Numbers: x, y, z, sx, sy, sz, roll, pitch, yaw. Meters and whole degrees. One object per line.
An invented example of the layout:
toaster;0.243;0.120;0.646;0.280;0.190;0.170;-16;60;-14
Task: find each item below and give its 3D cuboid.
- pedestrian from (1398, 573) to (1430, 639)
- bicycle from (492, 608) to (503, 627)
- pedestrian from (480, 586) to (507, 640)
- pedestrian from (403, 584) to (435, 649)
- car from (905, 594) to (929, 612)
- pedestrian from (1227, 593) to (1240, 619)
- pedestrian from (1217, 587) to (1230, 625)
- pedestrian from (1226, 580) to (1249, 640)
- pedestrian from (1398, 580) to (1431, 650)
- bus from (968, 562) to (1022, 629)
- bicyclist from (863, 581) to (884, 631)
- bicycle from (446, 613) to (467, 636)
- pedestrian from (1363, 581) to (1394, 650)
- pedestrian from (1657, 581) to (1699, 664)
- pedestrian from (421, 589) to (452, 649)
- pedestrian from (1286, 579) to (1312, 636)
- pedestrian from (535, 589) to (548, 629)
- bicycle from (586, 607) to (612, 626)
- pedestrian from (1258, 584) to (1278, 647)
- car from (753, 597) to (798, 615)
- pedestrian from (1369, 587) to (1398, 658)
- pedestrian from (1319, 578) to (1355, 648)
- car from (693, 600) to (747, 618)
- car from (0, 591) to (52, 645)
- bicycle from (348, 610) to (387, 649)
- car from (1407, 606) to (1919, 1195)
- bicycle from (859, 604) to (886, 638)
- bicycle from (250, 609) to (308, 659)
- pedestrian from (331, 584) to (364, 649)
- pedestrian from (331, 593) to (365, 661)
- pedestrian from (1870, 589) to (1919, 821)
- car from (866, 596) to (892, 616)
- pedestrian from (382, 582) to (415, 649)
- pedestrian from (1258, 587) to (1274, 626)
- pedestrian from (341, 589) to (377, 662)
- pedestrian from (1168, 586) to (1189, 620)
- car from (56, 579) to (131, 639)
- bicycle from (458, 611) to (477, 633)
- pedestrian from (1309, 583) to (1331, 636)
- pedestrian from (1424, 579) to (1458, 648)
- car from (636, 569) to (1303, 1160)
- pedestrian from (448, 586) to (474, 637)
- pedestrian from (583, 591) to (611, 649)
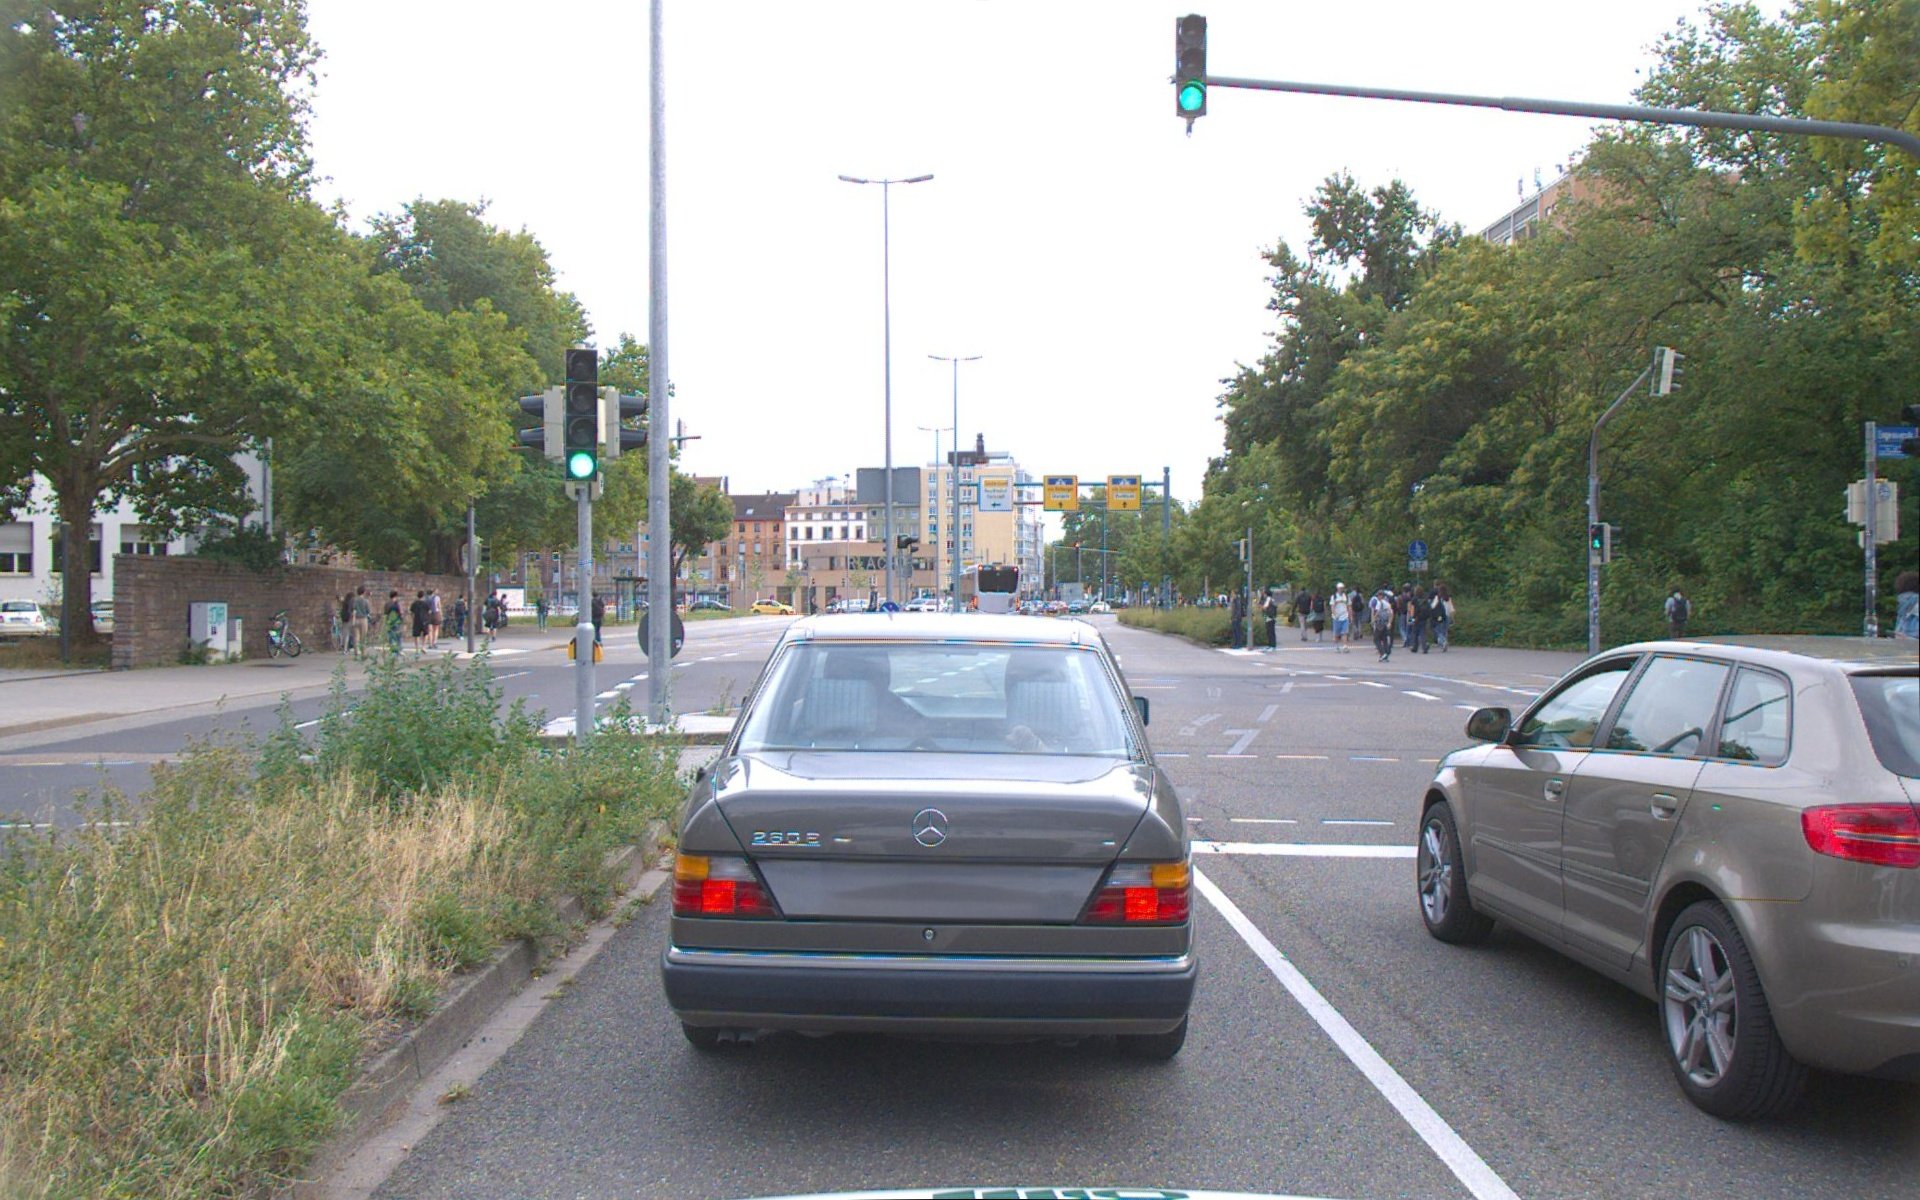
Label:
pedestrian;12.243;0.156;44.588;0.643;1.776;0.780;-1;0;1
bicycle;-21.045;0.791;75.260;0.433;0.842;1.614;2;-1;-14
pedestrian;-15.905;0.462;56.373;0.749;1.814;0.916;1;-2;-26
pedestrian;-15.330;0.480;46.834;0.749;1.814;0.777;1;-2;-26
car;-3.702;0.262;142.465;1.764;1.515;4.290;0;0;2
pedestrian;15.713;0.344;94.896;0.643;1.496;0.562;0;0;1
pedestrian;14.352;0.316;90.086;0.601;2.049;0.597;0;0;1
pedestrian;8.313;0.298;49.570;0.589;1.765;0.654;0;0;0
pedestrian;11.823;0.384;43.005;0.643;1.776;0.780;-1;0;1
bus;1.881;-0.258;90.087;2.773;3.449;8.183;0;0;1
bicyclist;-2.804;0.200;53.784;0.560;1.601;0.700;0;0;7
bicycle;-19.107;0.917;62.773;0.432;0.810;1.618;2;1;-7
pedestrian;10.895;0.388;43.052;0.611;1.776;0.780;-1;0;1
pedestrian;16.070;0.503;37.027;0.631;1.827;0.740;0;0;0
pedestrian;-15.907;0.588;50.242;0.749;1.814;0.907;1;-2;-26
pedestrian;11.057;0.247;53.963;0.678;1.853;0.954;-1;0;3
pedestrian;-17.753;0.388;70.148;0.550;1.697;0.624;0;-2;-14
bicycle;-18.745;0.863;85.903;0.460;0.935;2.341;0;0;10
pedestrian;8.733;0.437;46.946;0.444;1.765;0.637;0;0;0
car;-16.511;0.525;148.067;3.779;1.544;1.660;1;0;-2
pedestrian;10.290;0.537;40.211;0.534;1.716;0.637;0;0;0
pedestrian;10.219;0.357;44.833;0.633;1.885;0.827;1;-1;-12
car;-21.453;0.822;147.902;4.575;1.501;1.660;1;0;-2
car;-32.935;0.603;57.496;1.891;1.782;3.947;0;0;-37
bicycle;-17.557;0.858;49.054;0.538;1.077;1.979;3;0;-4
car;3.063;0.780;6.157;1.689;1.483;3.734;0;0;-2
bicycle;-2.845;0.671;53.657;0.561;1.074;1.927;0;0;7
bicycle;-16.856;0.823;40.982;0.566;1.145;2.164;3;0;-2
pedestrian;-17.198;0.479;46.438;0.737;1.814;0.775;1;-2;-32
pedestrian;-16.458;0.736;44.484;0.750;1.814;0.776;1;-2;-29
pedestrian;7.899;0.834;13.518;0.561;1.849;0.682;0;0;3
car;-6.032;0.443;124.239;1.725;1.515;4.545;0;0;0
pedestrian;-15.213;0.427;44.791;0.750;1.814;0.777;1;-2;-27
pedestrian;13.415;0.288;72.610;0.575;1.712;0.748;-1;0;3
pedestrian;-15.115;0.644;41.597;0.737;1.814;0.776;1;-2;-30
pedestrian;12.207;0.155;92.321;0.916;1.862;0.885;-1;0;30
car;-30.538;0.304;58.235;1.767;2.049;3.948;0;0;-37
bicycle;-19.349;0.857;65.022;0.432;0.810;1.618;2;1;-7
pedestrian;11.500;0.302;52.882;0.544;1.684;0.754;-1;0;3
pedestrian;12.502;0.352;42.975;0.643;1.776;0.780;-1;0;1
car;-0.002;0.675;6.371;1.725;1.515;4.170;0;0;-1
pedestrian;-17.724;0.418;58.737;0.749;1.814;0.777;1;-2;-26
pedestrian;-11.347;0.629;51.648;0.748;1.814;0.717;0;-2;-21
